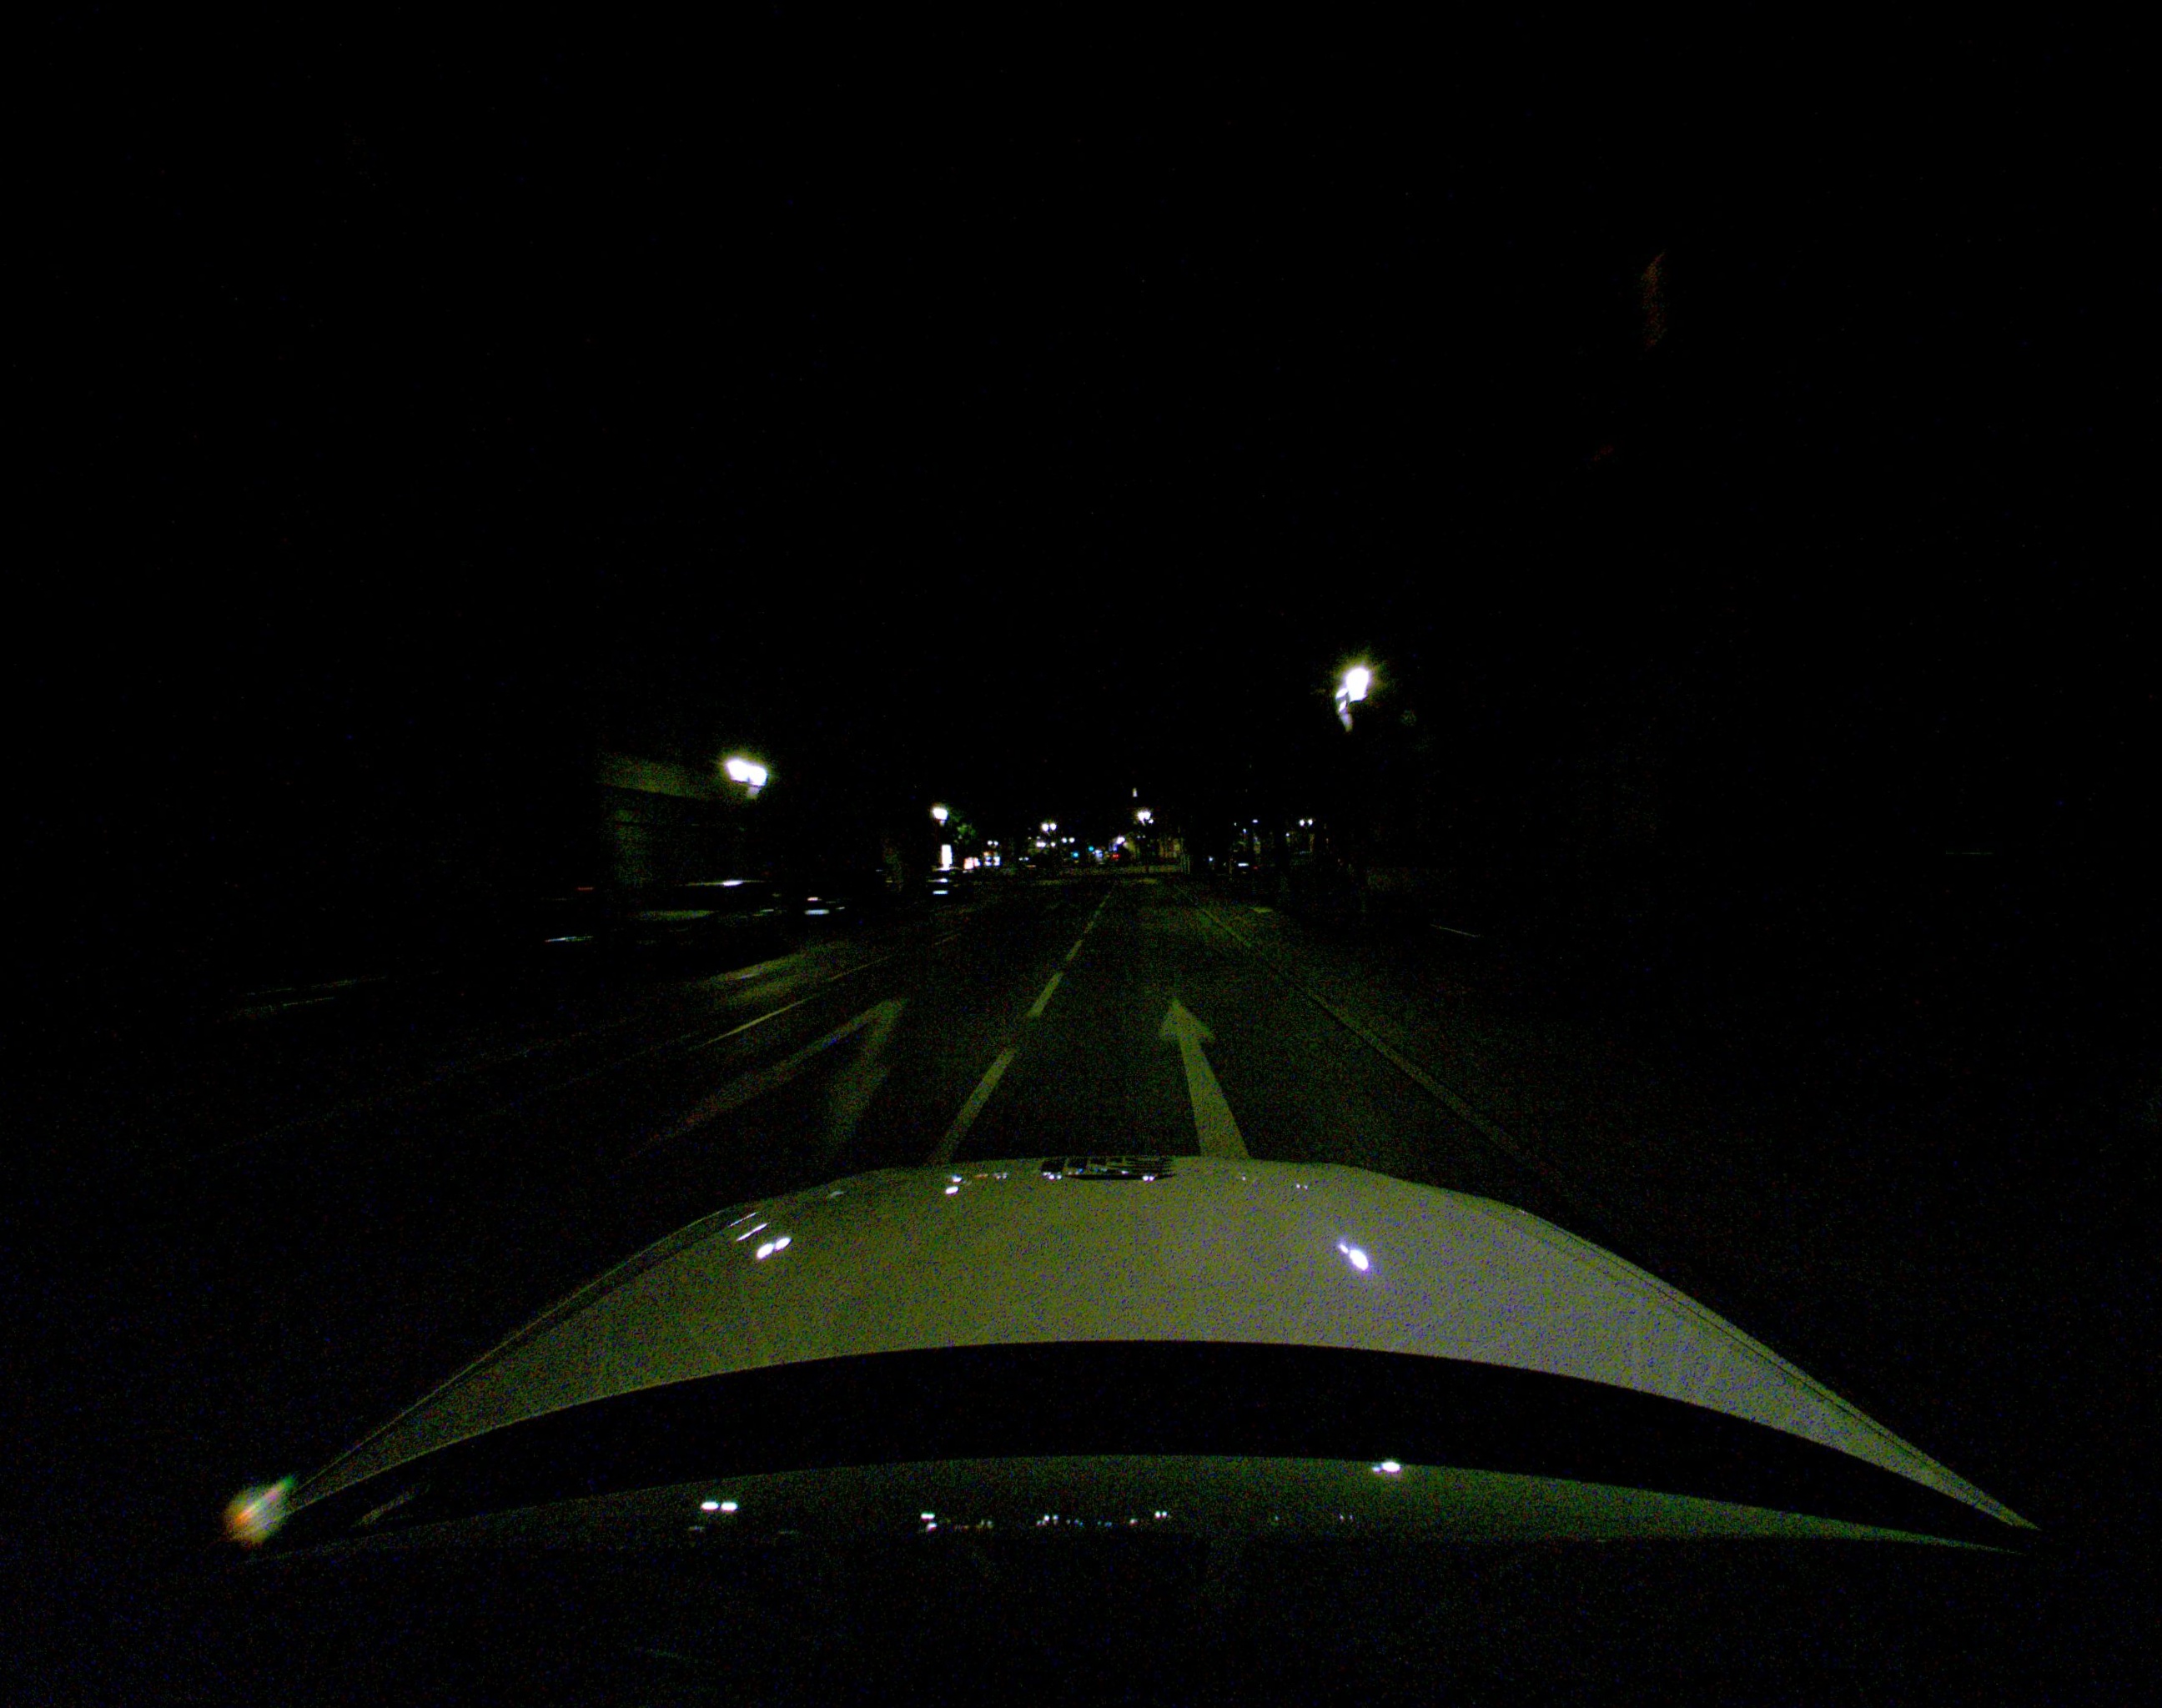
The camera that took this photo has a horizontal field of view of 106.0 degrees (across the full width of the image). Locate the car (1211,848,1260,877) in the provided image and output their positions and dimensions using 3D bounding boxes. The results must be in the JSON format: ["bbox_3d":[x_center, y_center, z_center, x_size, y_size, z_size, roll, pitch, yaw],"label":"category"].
[{"bbox_3d":[8.366,0.455,44.487,1.728,1.459,4.726,-2,-1,0],"label":"car"}]

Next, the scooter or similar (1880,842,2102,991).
[{"bbox_3d":[7.749,0.485,7.032,0.419,1.130,1.498,-3,-1,11],"label":"scooter or similar"}]

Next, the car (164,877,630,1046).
[{"bbox_3d":[-7.799,1.100,9.995,1.776,1.491,4.336,-2,0,5],"label":"car"}]

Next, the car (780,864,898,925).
[{"bbox_3d":[-6.939,1.106,23.882,1.776,1.582,4.417,0,0,5],"label":"car"}]

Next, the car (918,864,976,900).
[{"bbox_3d":[-5.919,1.212,36.435,1.777,1.415,4.128,-1,0,2],"label":"car"}]

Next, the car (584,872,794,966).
[{"bbox_3d":[-7.289,1.125,15.644,1.776,1.491,4.006,0,0,6],"label":"car"}]

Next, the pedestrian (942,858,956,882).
[{"bbox_3d":[-10.071,1.250,62.121,0.730,1.822,0.684,1,-3,-43],"label":"pedestrian"}]

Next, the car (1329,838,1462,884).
[{"bbox_3d":[11.864,0.245,30.997,4.401,1.459,1.794,-3,0,8],"label":"car"}]
